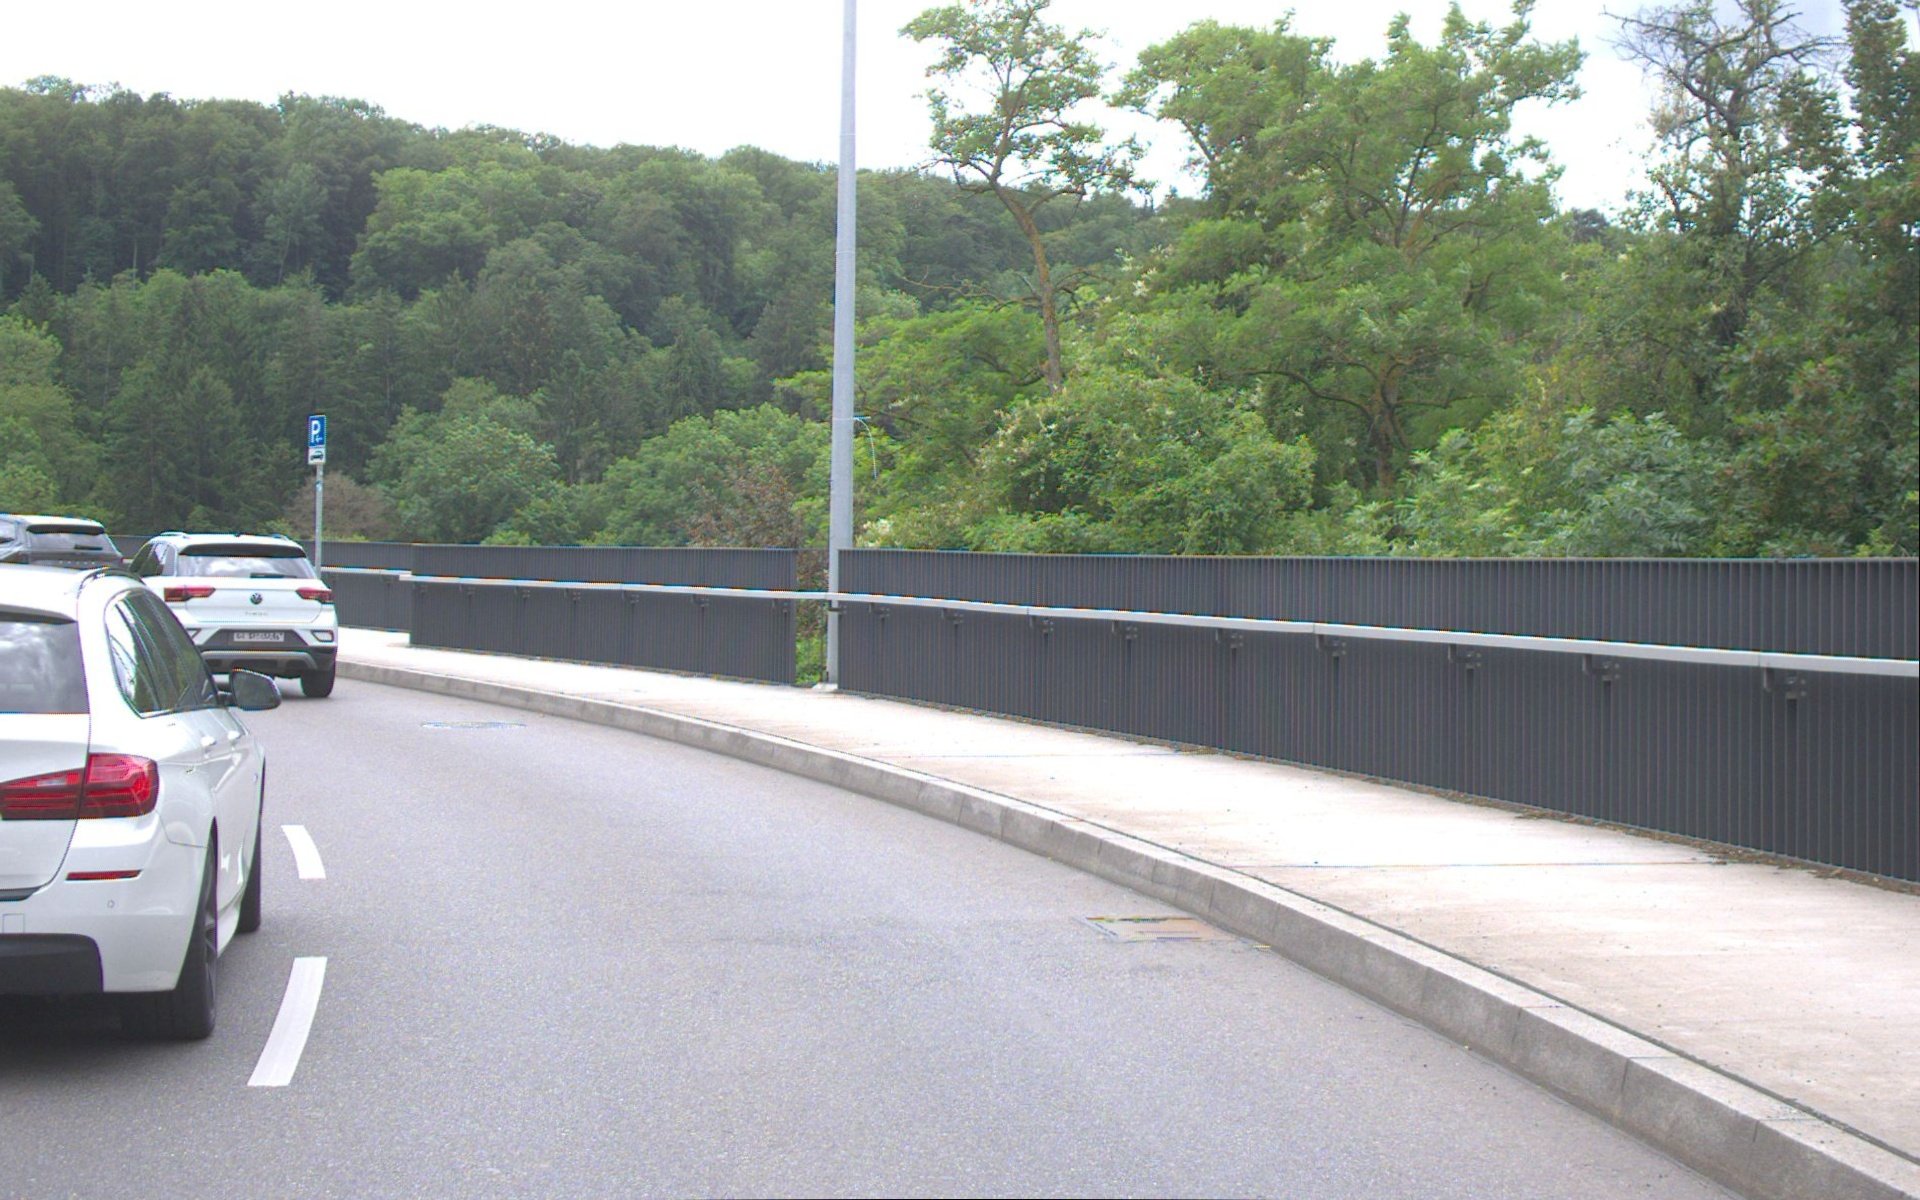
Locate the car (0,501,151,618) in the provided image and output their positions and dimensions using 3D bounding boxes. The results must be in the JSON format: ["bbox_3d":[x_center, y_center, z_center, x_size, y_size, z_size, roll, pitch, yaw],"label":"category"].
[{"bbox_3d":[-14.401,-0.627,52.740,1.994,1.712,5.048,0,1,-37],"label":"car"}]

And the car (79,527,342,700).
[{"bbox_3d":[-7.456,0.094,33.941,1.827,1.600,4.001,-1,1,-23],"label":"car"}]

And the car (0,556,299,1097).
[{"bbox_3d":[-3.300,0.587,11.458,1.827,1.454,4.487,0,1,-7],"label":"car"}]
